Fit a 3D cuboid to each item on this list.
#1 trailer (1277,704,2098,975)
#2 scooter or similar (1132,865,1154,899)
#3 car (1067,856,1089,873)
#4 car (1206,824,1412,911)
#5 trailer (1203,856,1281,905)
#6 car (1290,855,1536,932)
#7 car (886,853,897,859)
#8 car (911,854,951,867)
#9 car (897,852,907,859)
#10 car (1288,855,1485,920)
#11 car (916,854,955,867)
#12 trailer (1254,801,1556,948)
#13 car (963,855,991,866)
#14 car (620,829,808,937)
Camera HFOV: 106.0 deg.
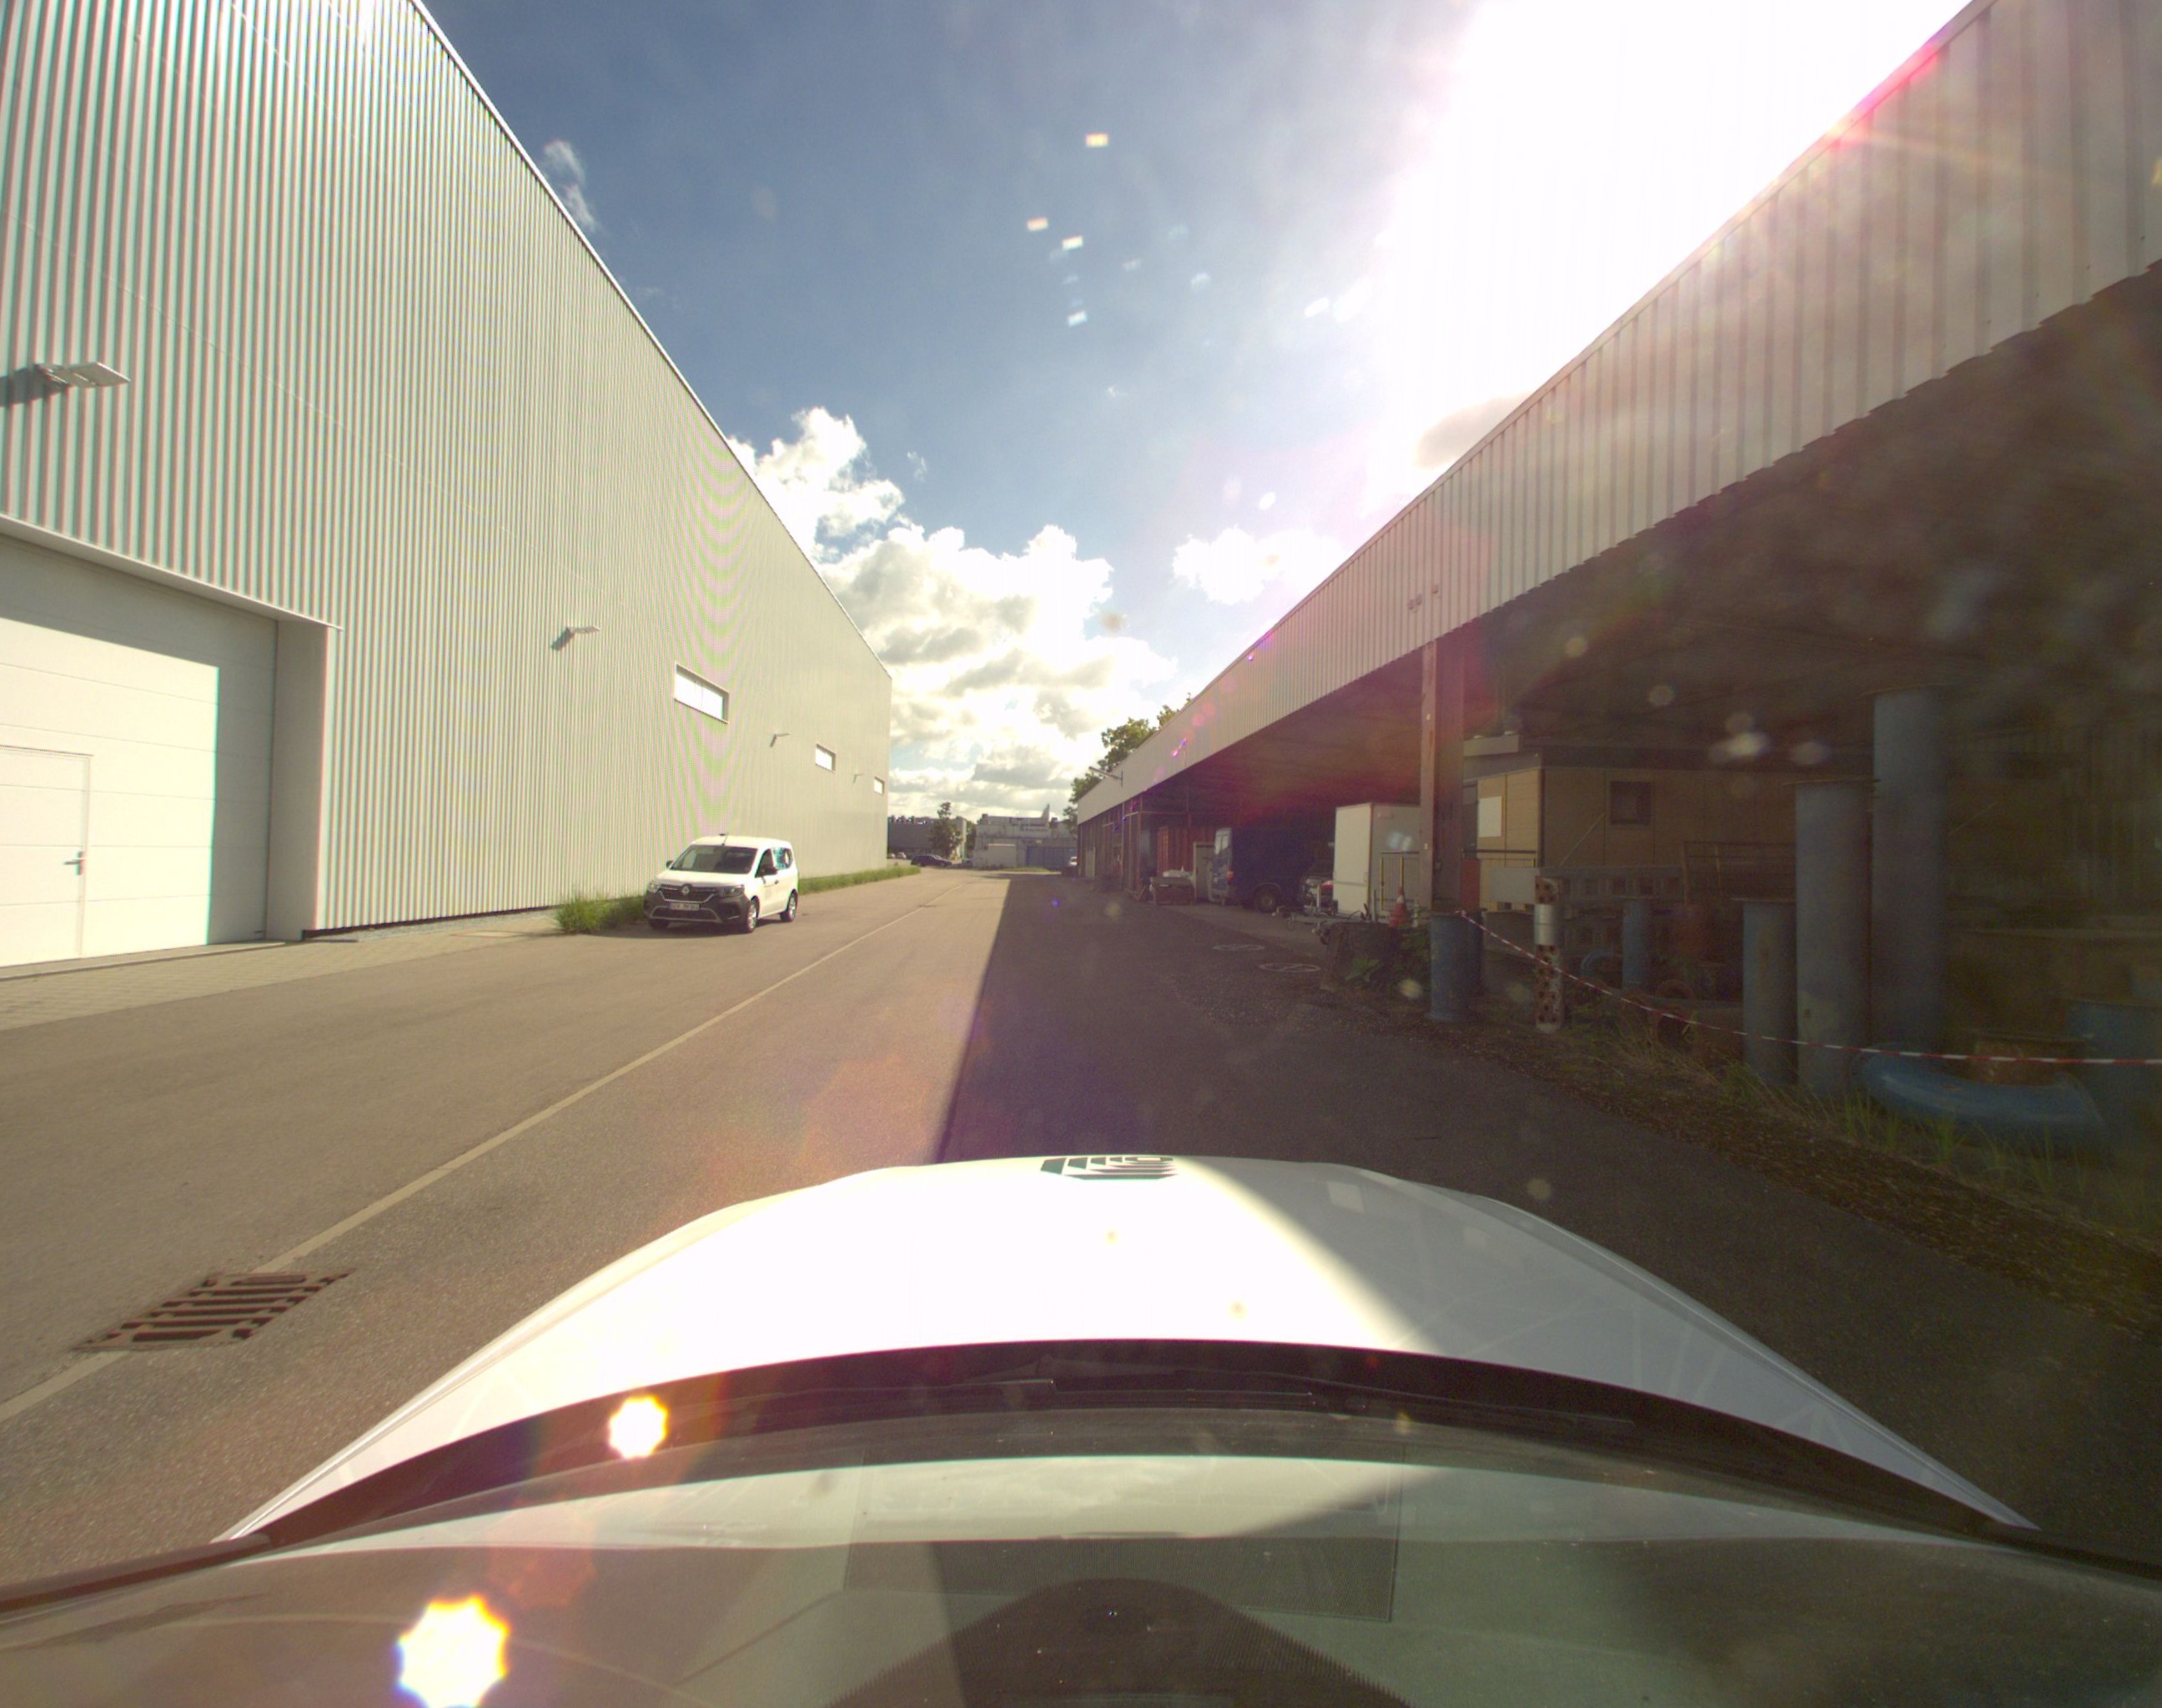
[{"bbox_3d":[8.247,-0.207,11.684,10.274,3.295,2.671,0,0,-5],"label":"trailer"},{"bbox_3d":[2.143,0.967,28.284,0.519,1.134,1.589,1,-1,-5],"label":"scooter or similar"},{"bbox_3d":[-0.385,1.074,86.846,1.978,1.593,4.333,2,1,-5],"label":"car"},{"bbox_3d":[6.318,0.387,22.902,5.209,2.297,2.080,1,-1,-6],"label":"car"},{"bbox_3d":[4.990,0.809,25.379,2.089,1.462,1.640,1,-1,-2],"label":"trailer"},{"bbox_3d":[6.700,0.760,16.660,4.342,1.433,1.859,0,-1,-9],"label":"car"},{"bbox_3d":[-44.712,0.441,192.203,1.876,1.537,4.025,0,-1,-7],"label":"car"},{"bbox_3d":[-18.014,0.794,97.742,4.522,1.443,1.983,1,-2,-5],"label":"car"},{"bbox_3d":[-42.417,0.429,192.653,1.876,1.537,4.025,0,-1,-7],"label":"car"},{"bbox_3d":[7.328,0.771,19.789,4.101,1.454,1.847,0,-1,-6],"label":"car"},{"bbox_3d":[-18.049,0.809,101.007,4.522,1.443,1.900,1,-2,-5],"label":"car"},{"bbox_3d":[5.421,0.310,13.934,4.533,2.335,1.686,0,0,-5],"label":"trailer"},{"bbox_3d":[-16.037,0.941,125.767,4.272,1.569,1.983,1,-2,-5],"label":"car"},{"bbox_3d":[-7.111,0.510,16.386,1.925,1.790,4.590,3,0,-5],"label":"car"}]
